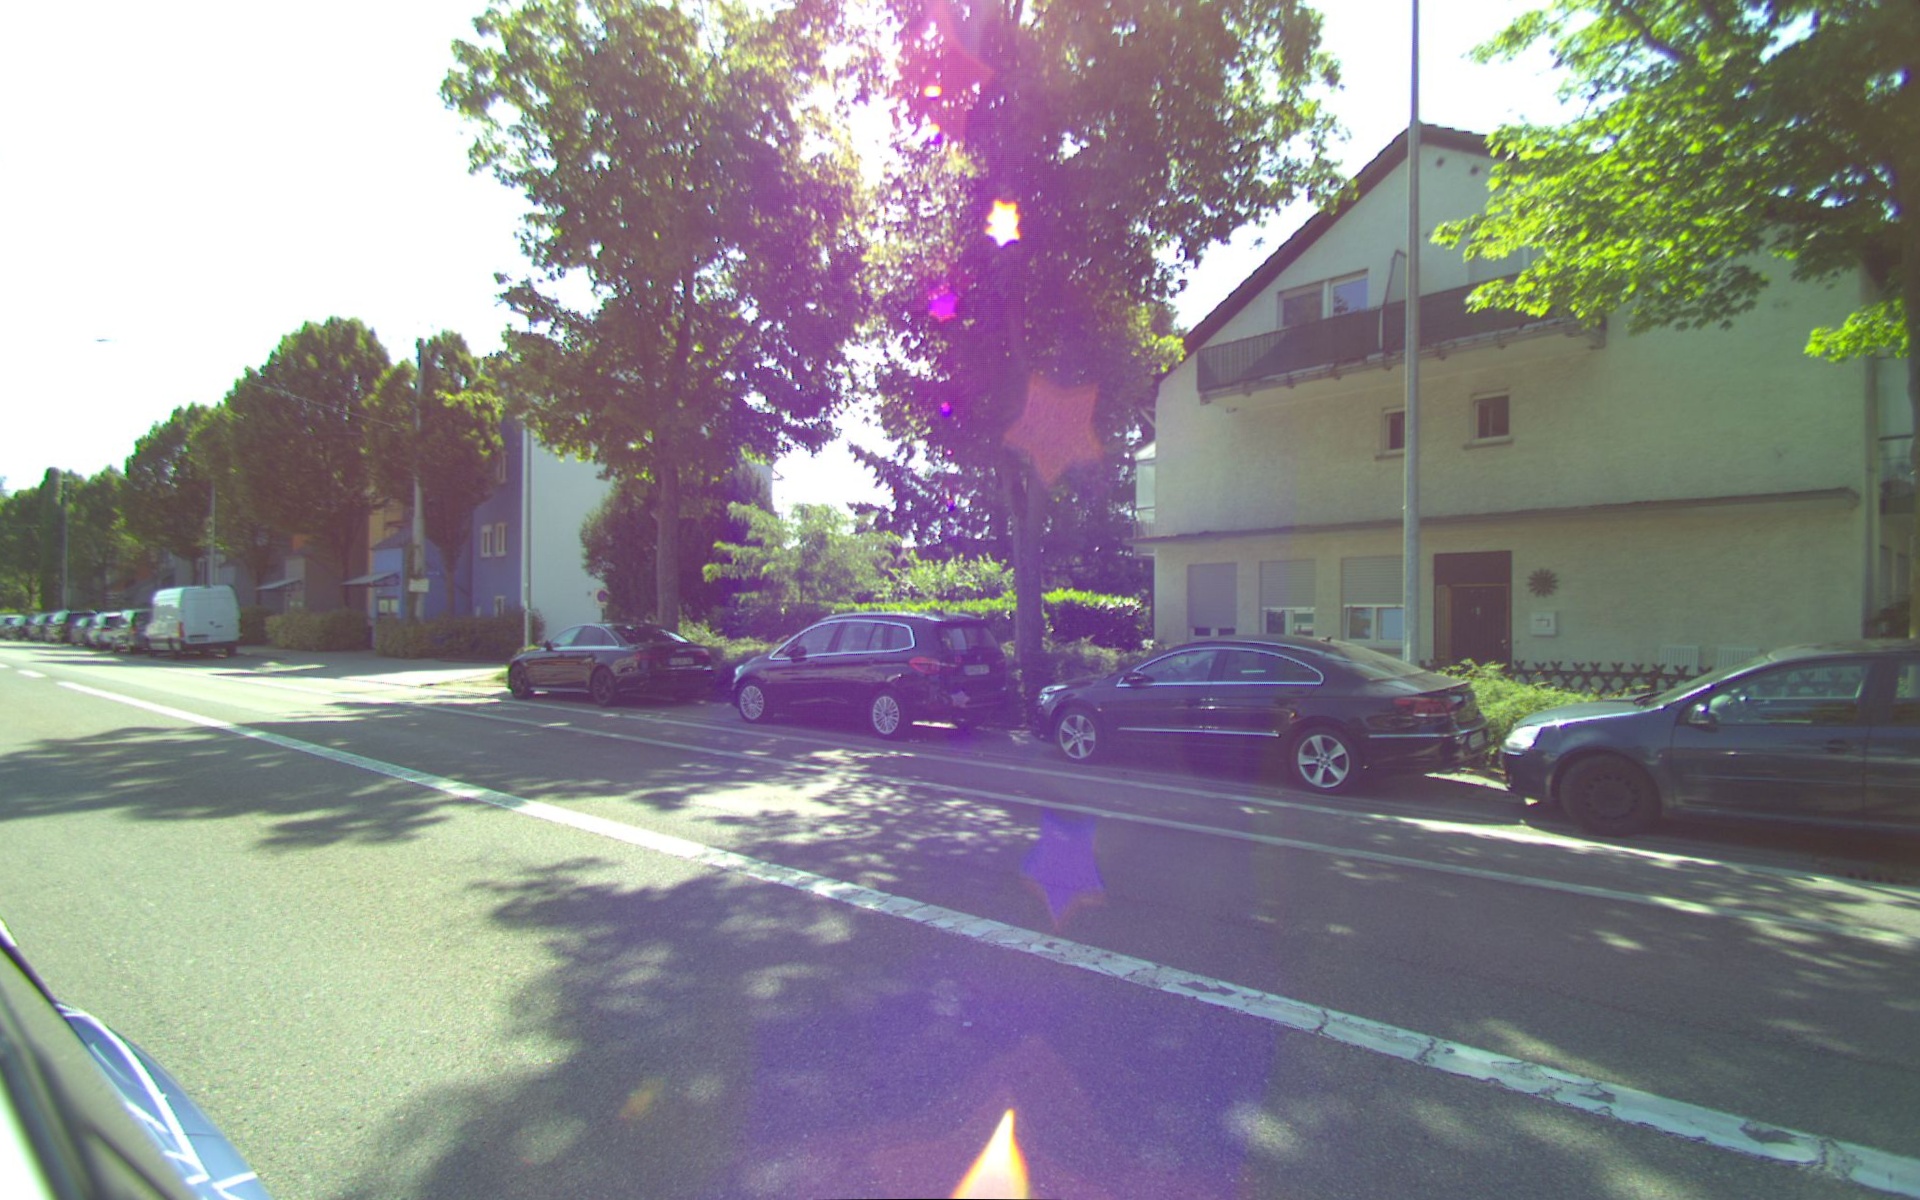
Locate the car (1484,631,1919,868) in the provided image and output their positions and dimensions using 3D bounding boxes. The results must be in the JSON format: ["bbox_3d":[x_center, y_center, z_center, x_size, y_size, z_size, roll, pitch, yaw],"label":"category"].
[{"bbox_3d":[6.237,0.984,7.318,4.082,1.462,1.598,-1,-2,43],"label":"car"}]

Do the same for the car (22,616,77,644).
[{"bbox_3d":[-52.539,1.705,58.393,3.761,1.513,1.659,-1,2,38],"label":"car"}]

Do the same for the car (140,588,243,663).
[{"bbox_3d":[-29.680,0.937,39.009,6.083,2.671,1.990,-1,0,42],"label":"car"}]

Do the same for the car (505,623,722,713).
[{"bbox_3d":[-6.427,1.159,18.533,4.453,1.447,1.658,-1,-2,39],"label":"car"}]

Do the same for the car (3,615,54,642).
[{"bbox_3d":[-56.932,1.711,61.855,3.761,1.513,1.659,-1,2,38],"label":"car"}]

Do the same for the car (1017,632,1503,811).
[{"bbox_3d":[2.900,1.072,10.496,4.579,1.406,1.679,-1,-2,42],"label":"car"}]

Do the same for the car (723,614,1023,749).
[{"bbox_3d":[-1.315,1.018,14.139,4.238,1.625,1.658,-1,-2,39],"label":"car"}]

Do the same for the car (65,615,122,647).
[{"bbox_3d":[-44.302,1.562,51.726,3.765,1.513,1.657,-1,2,41],"label":"car"}]

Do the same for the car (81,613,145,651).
[{"bbox_3d":[-40.281,1.479,48.089,4.146,1.681,1.657,-1,2,41],"label":"car"}]

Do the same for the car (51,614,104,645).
[{"bbox_3d":[-47.826,1.563,54.835,3.765,1.513,1.657,-1,2,41],"label":"car"}]

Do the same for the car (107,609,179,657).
[{"bbox_3d":[-35.816,1.391,44.341,4.456,1.950,1.657,-1,2,41],"label":"car"}]
